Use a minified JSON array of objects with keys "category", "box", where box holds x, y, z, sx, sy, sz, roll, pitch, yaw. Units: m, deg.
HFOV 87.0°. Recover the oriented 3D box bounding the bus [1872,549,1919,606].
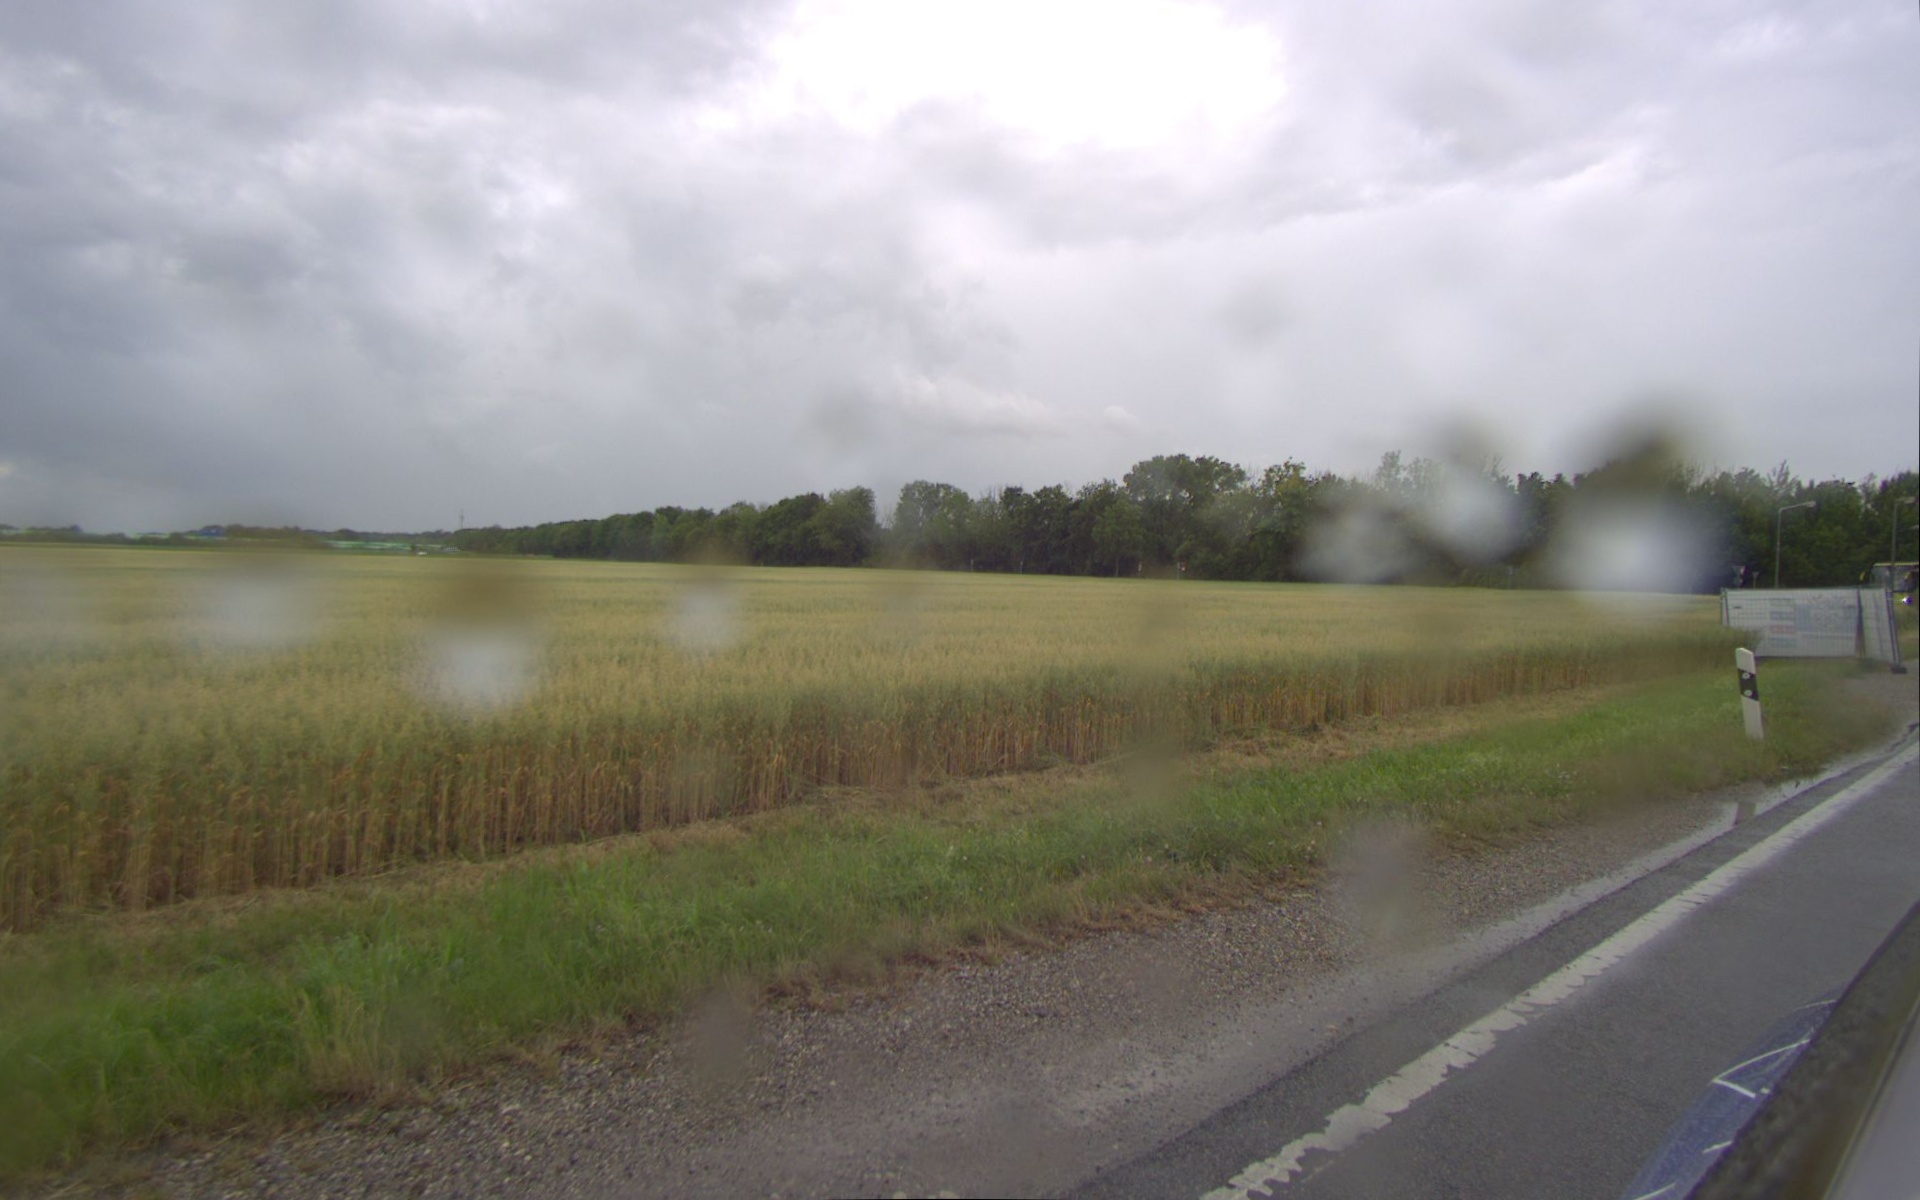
[{"category":"bus","box":[69.917,-1.413,69.700,13.994,3.731,3.005,1,2,-14]}]
